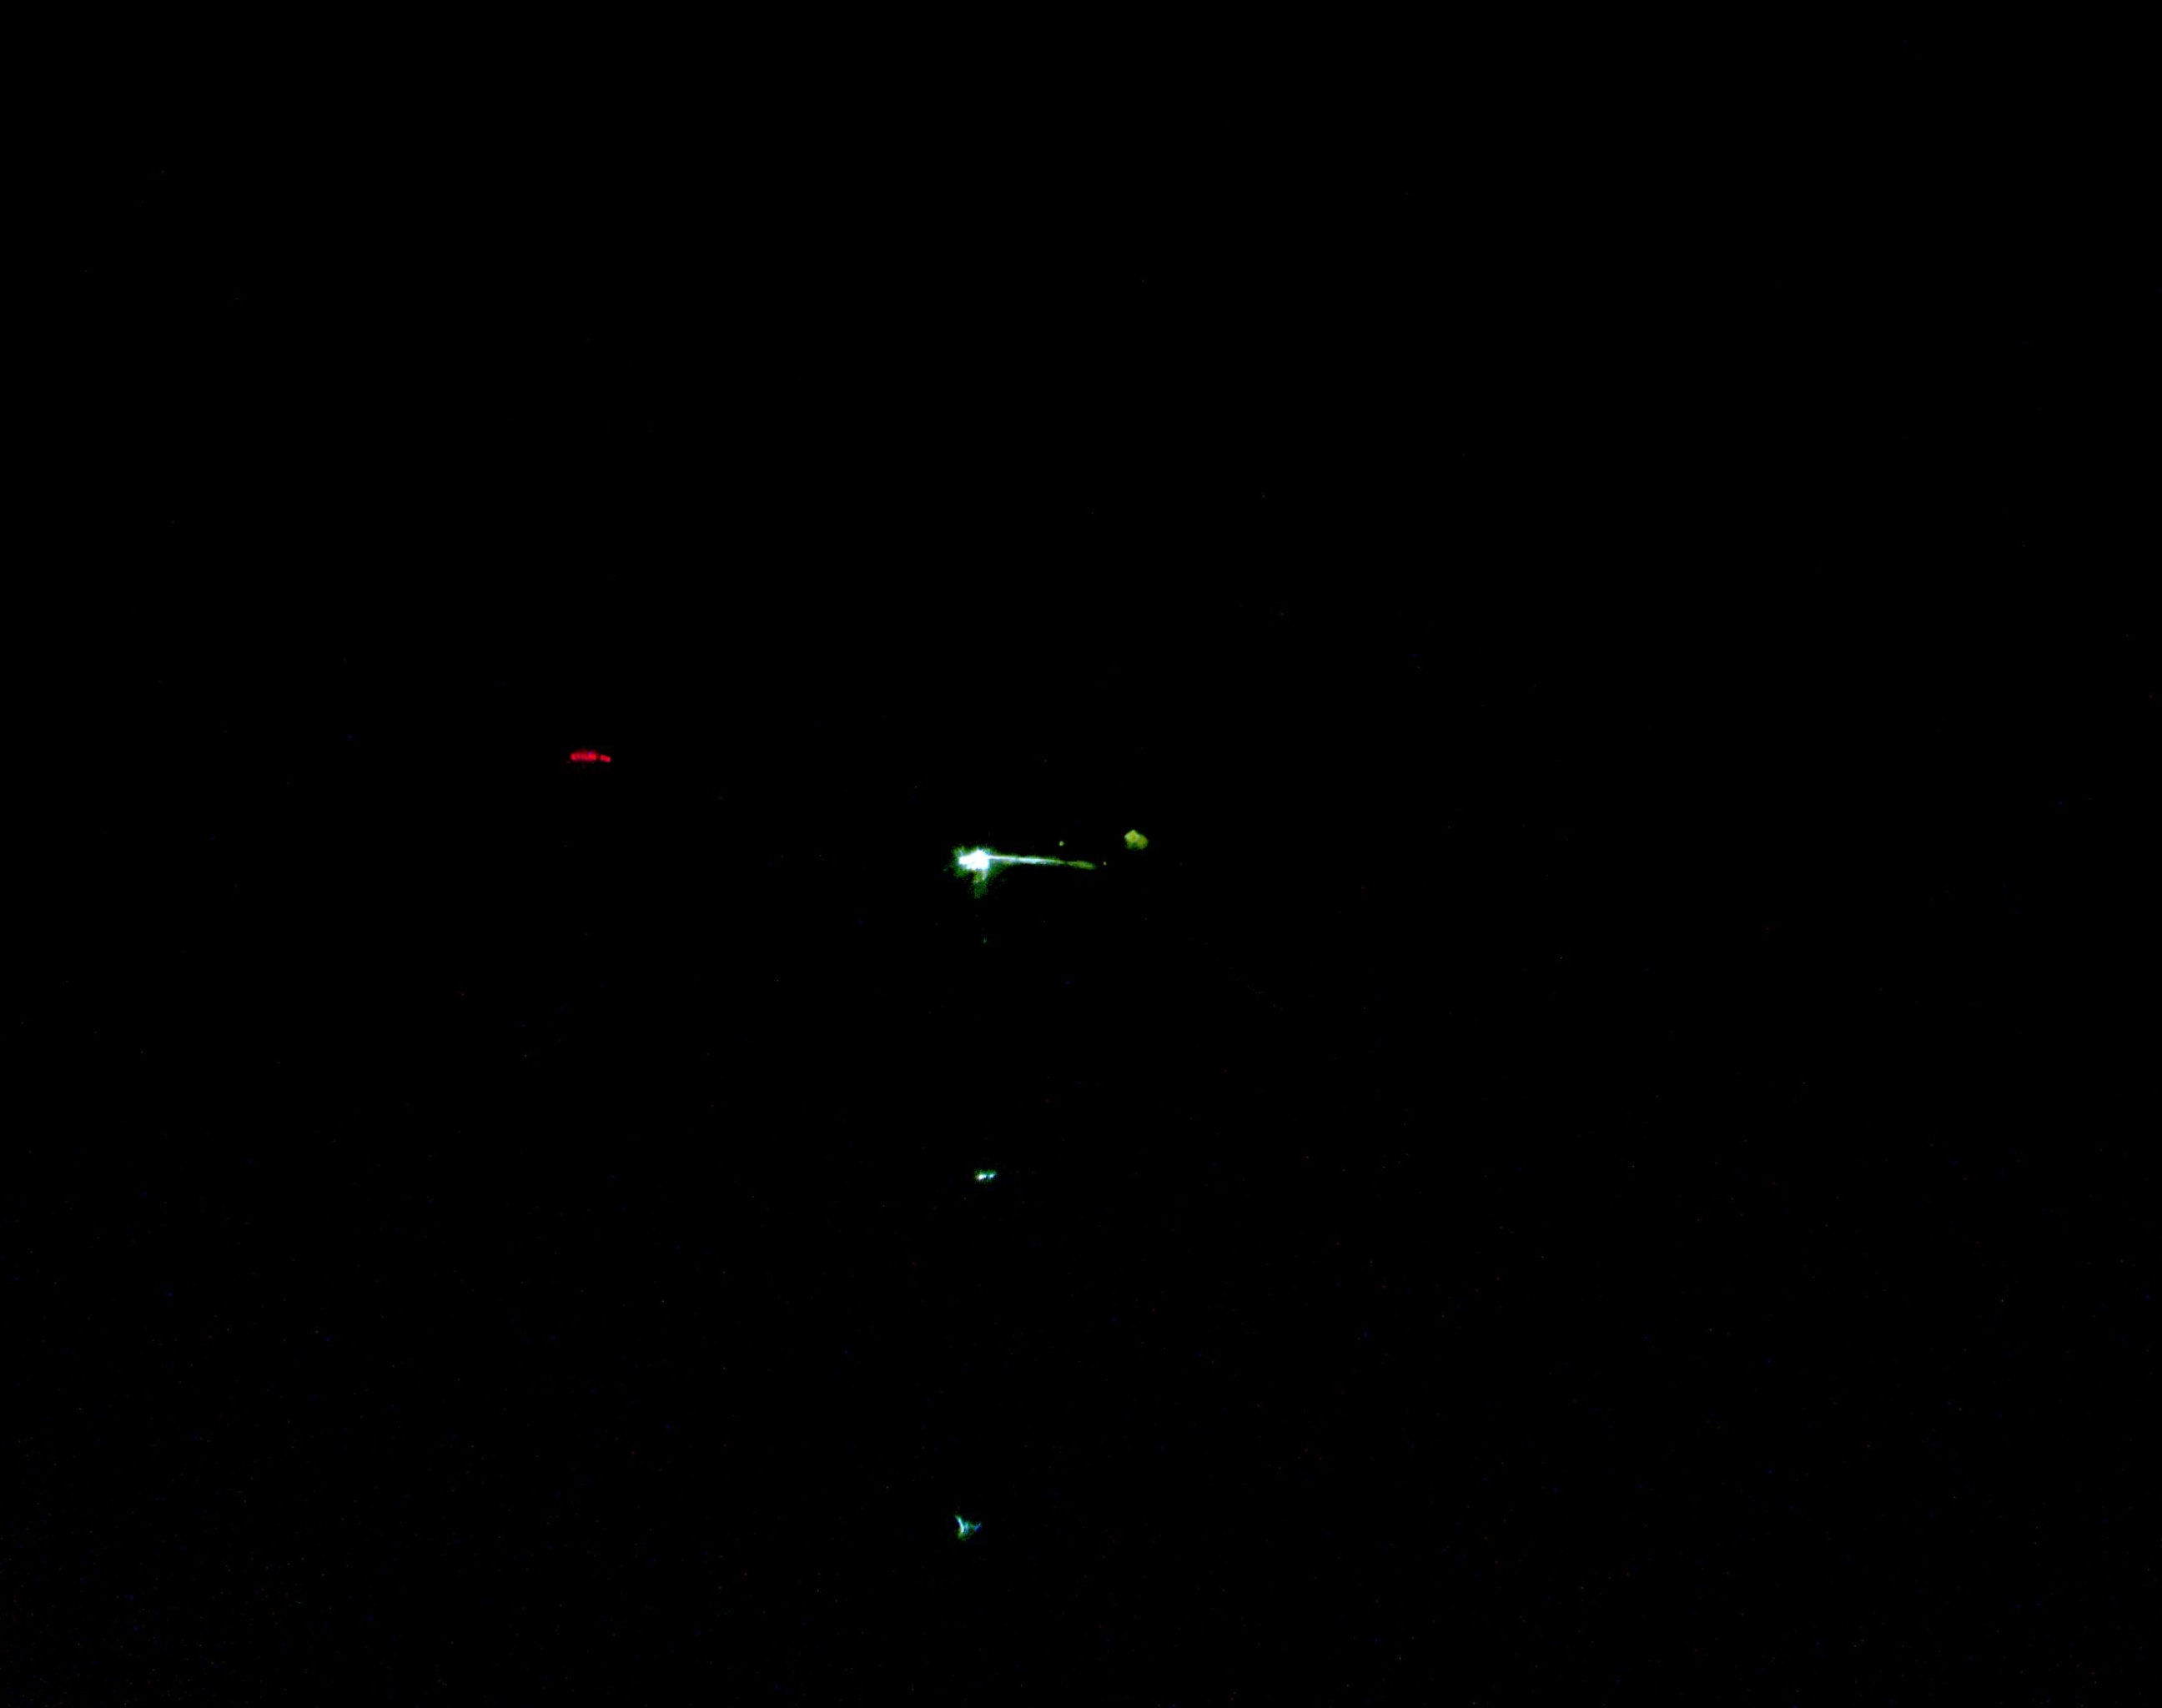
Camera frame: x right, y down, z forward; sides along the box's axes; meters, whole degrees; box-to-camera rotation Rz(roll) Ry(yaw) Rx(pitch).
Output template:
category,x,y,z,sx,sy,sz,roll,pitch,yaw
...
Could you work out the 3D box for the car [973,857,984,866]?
category,x,y,z,sx,sy,sz,roll,pitch,yaw
car,-18.412,1.342,146.357,1.701,1.506,3.672,-1,0,-9
